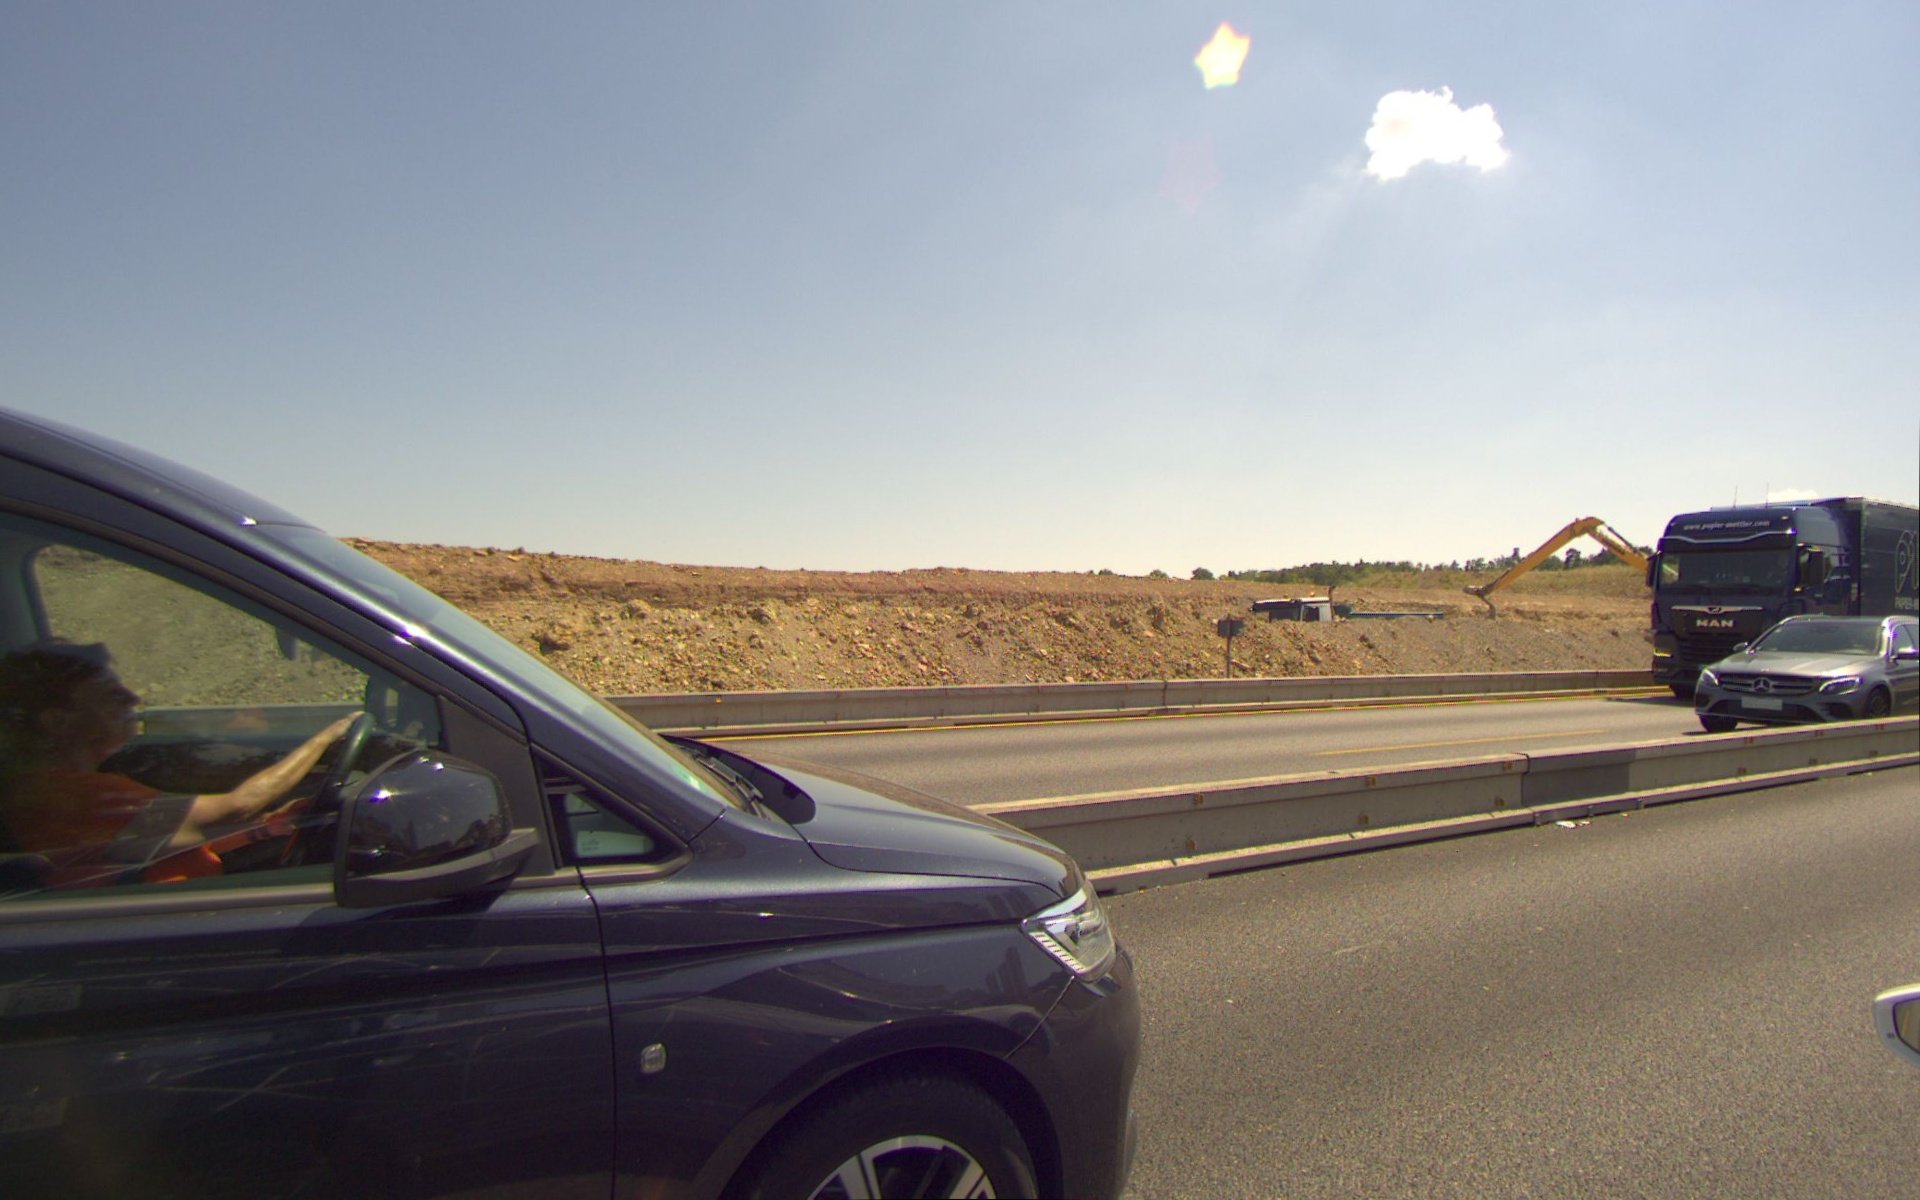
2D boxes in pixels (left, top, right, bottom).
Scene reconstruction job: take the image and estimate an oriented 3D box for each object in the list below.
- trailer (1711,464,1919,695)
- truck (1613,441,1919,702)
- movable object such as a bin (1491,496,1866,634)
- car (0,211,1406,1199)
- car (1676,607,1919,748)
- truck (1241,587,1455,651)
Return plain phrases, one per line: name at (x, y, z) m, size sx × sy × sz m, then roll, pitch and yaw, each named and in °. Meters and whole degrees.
trailer at (23.360, -0.250, 24.780) m, size 12.733 × 4.657 × 2.971 m, roll 2°, pitch 0°, yaw -31°
truck at (16.903, -0.441, 20.970) m, size 6.171 × 4.714 × 2.951 m, roll 2°, pitch 0°, yaw -30°
movable object such as a bin at (41.007, -1.823, 59.143) m, size 3.348 × 6.862 × 18.136 m, roll 2°, pitch 0°, yaw -29°
car at (-1.484, 0.506, 1.801) m, size 4.726 × 1.849 × 1.743 m, roll 1°, pitch 0°, yaw -30°
car at (12.252, 0.990, 14.015) m, size 4.828 × 1.651 × 1.859 m, roll 2°, pitch 0°, yaw -30°
truck at (14.267, 0.732, 36.595) m, size 8.707 × 2.086 × 2.548 m, roll 2°, pitch 0°, yaw -32°
